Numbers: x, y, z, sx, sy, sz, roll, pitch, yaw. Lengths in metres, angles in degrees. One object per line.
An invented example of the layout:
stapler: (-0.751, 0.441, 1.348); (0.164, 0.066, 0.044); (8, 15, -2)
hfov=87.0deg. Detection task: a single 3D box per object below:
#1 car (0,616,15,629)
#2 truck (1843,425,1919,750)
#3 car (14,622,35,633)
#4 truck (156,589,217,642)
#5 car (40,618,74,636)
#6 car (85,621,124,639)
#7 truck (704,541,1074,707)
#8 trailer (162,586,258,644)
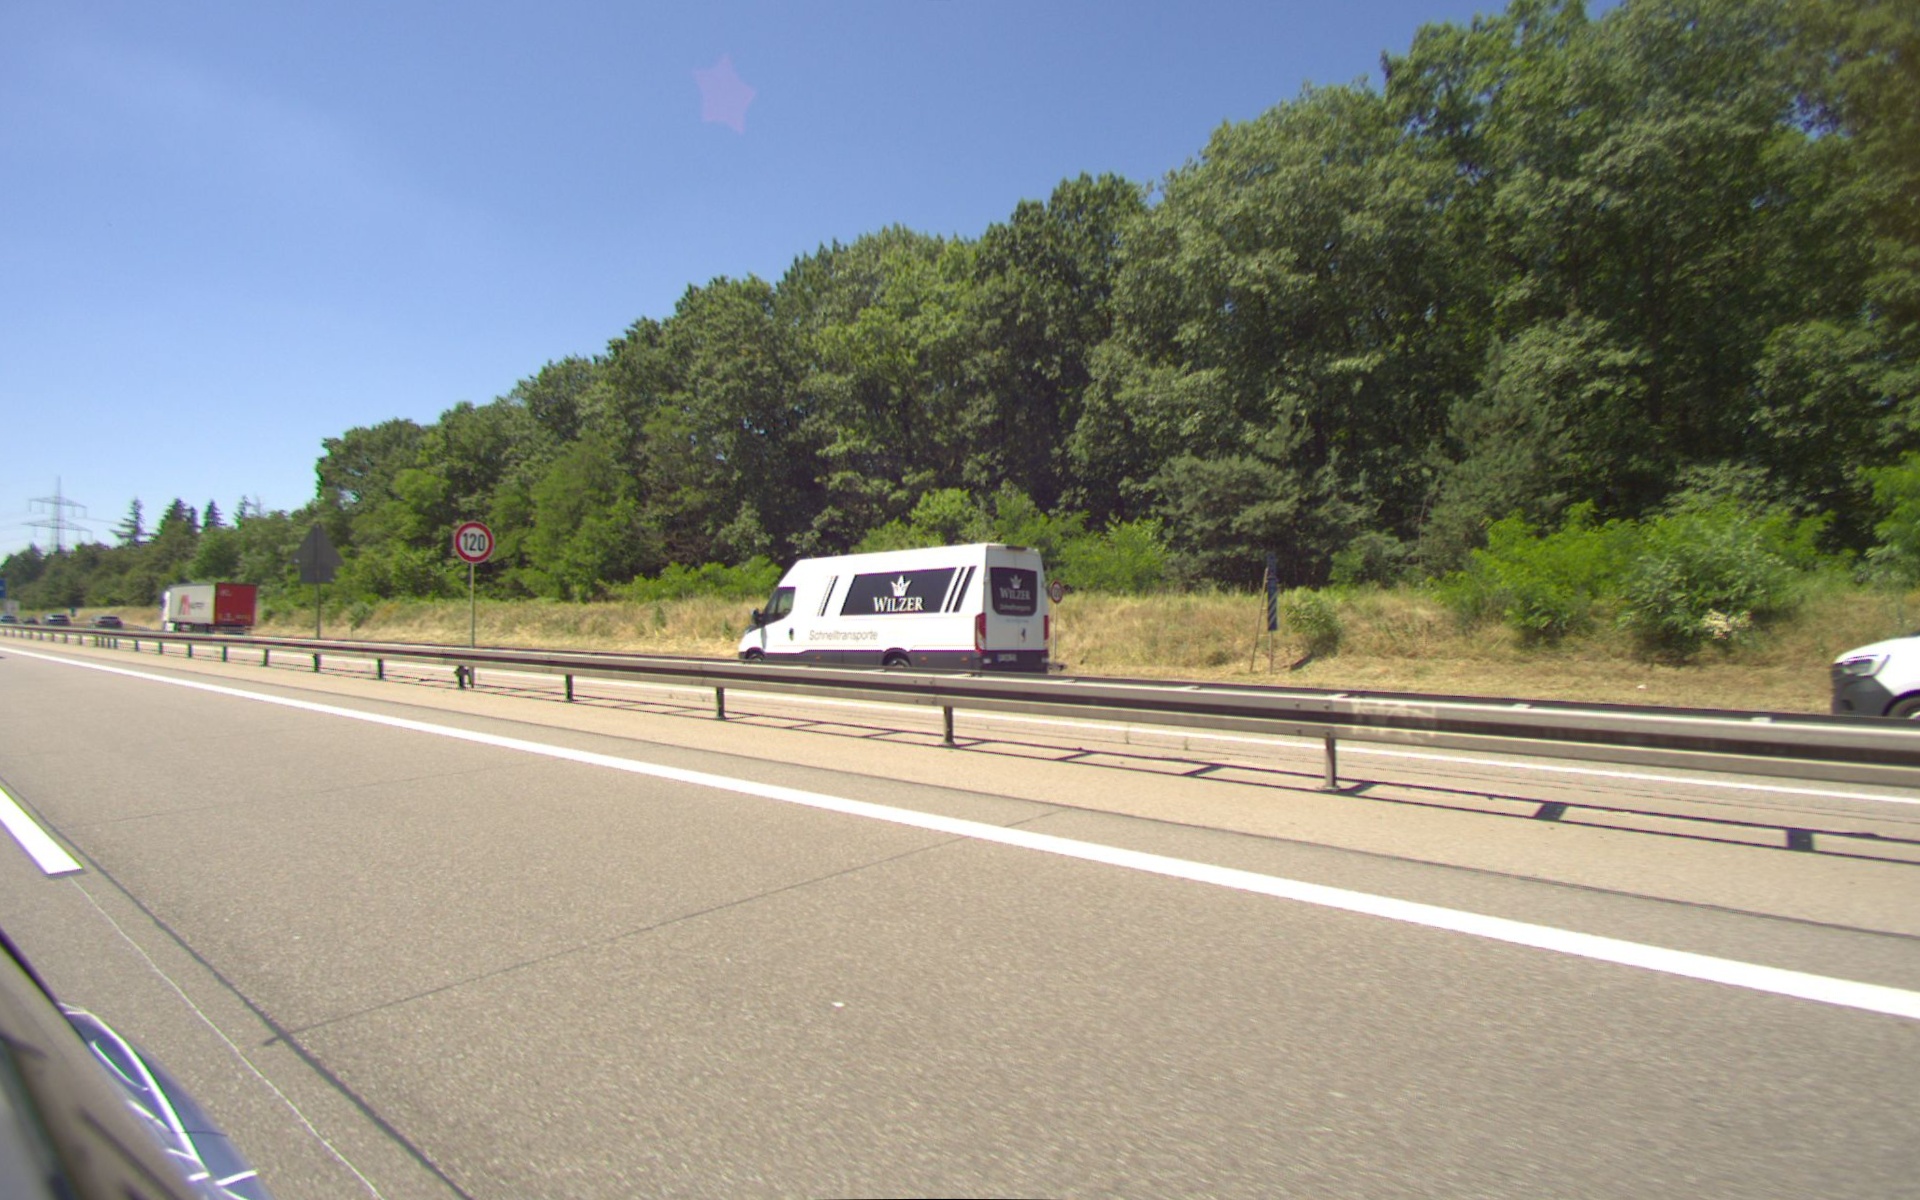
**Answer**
car: (-117.973, 2.810, 124.641); (3.906, 1.534, 1.753); (-1, -4, 40)
truck: (14.087, -0.114, 9.926); (8.116, 3.634, 2.431); (-1, -4, 41)
car: (-133.136, 3.904, 143.992); (3.868, 1.427, 1.753); (-1, -4, 40)
truck: (-64.155, 1.311, 83.921); (5.672, 4.151, 2.783); (-1, -4, 41)
car: (-91.767, 2.738, 102.815); (4.718, 1.693, 1.870); (-1, -4, 40)
car: (-74.897, 2.600, 88.550); (4.580, 1.445, 1.869); (-1, -4, 41)
truck: (-1.699, 0.482, 19.542); (8.028, 2.643, 2.061); (-1, -4, 42)
trailer: (-59.181, 1.219, 79.616); (14.539, 4.151, 2.783); (-1, -4, 41)
